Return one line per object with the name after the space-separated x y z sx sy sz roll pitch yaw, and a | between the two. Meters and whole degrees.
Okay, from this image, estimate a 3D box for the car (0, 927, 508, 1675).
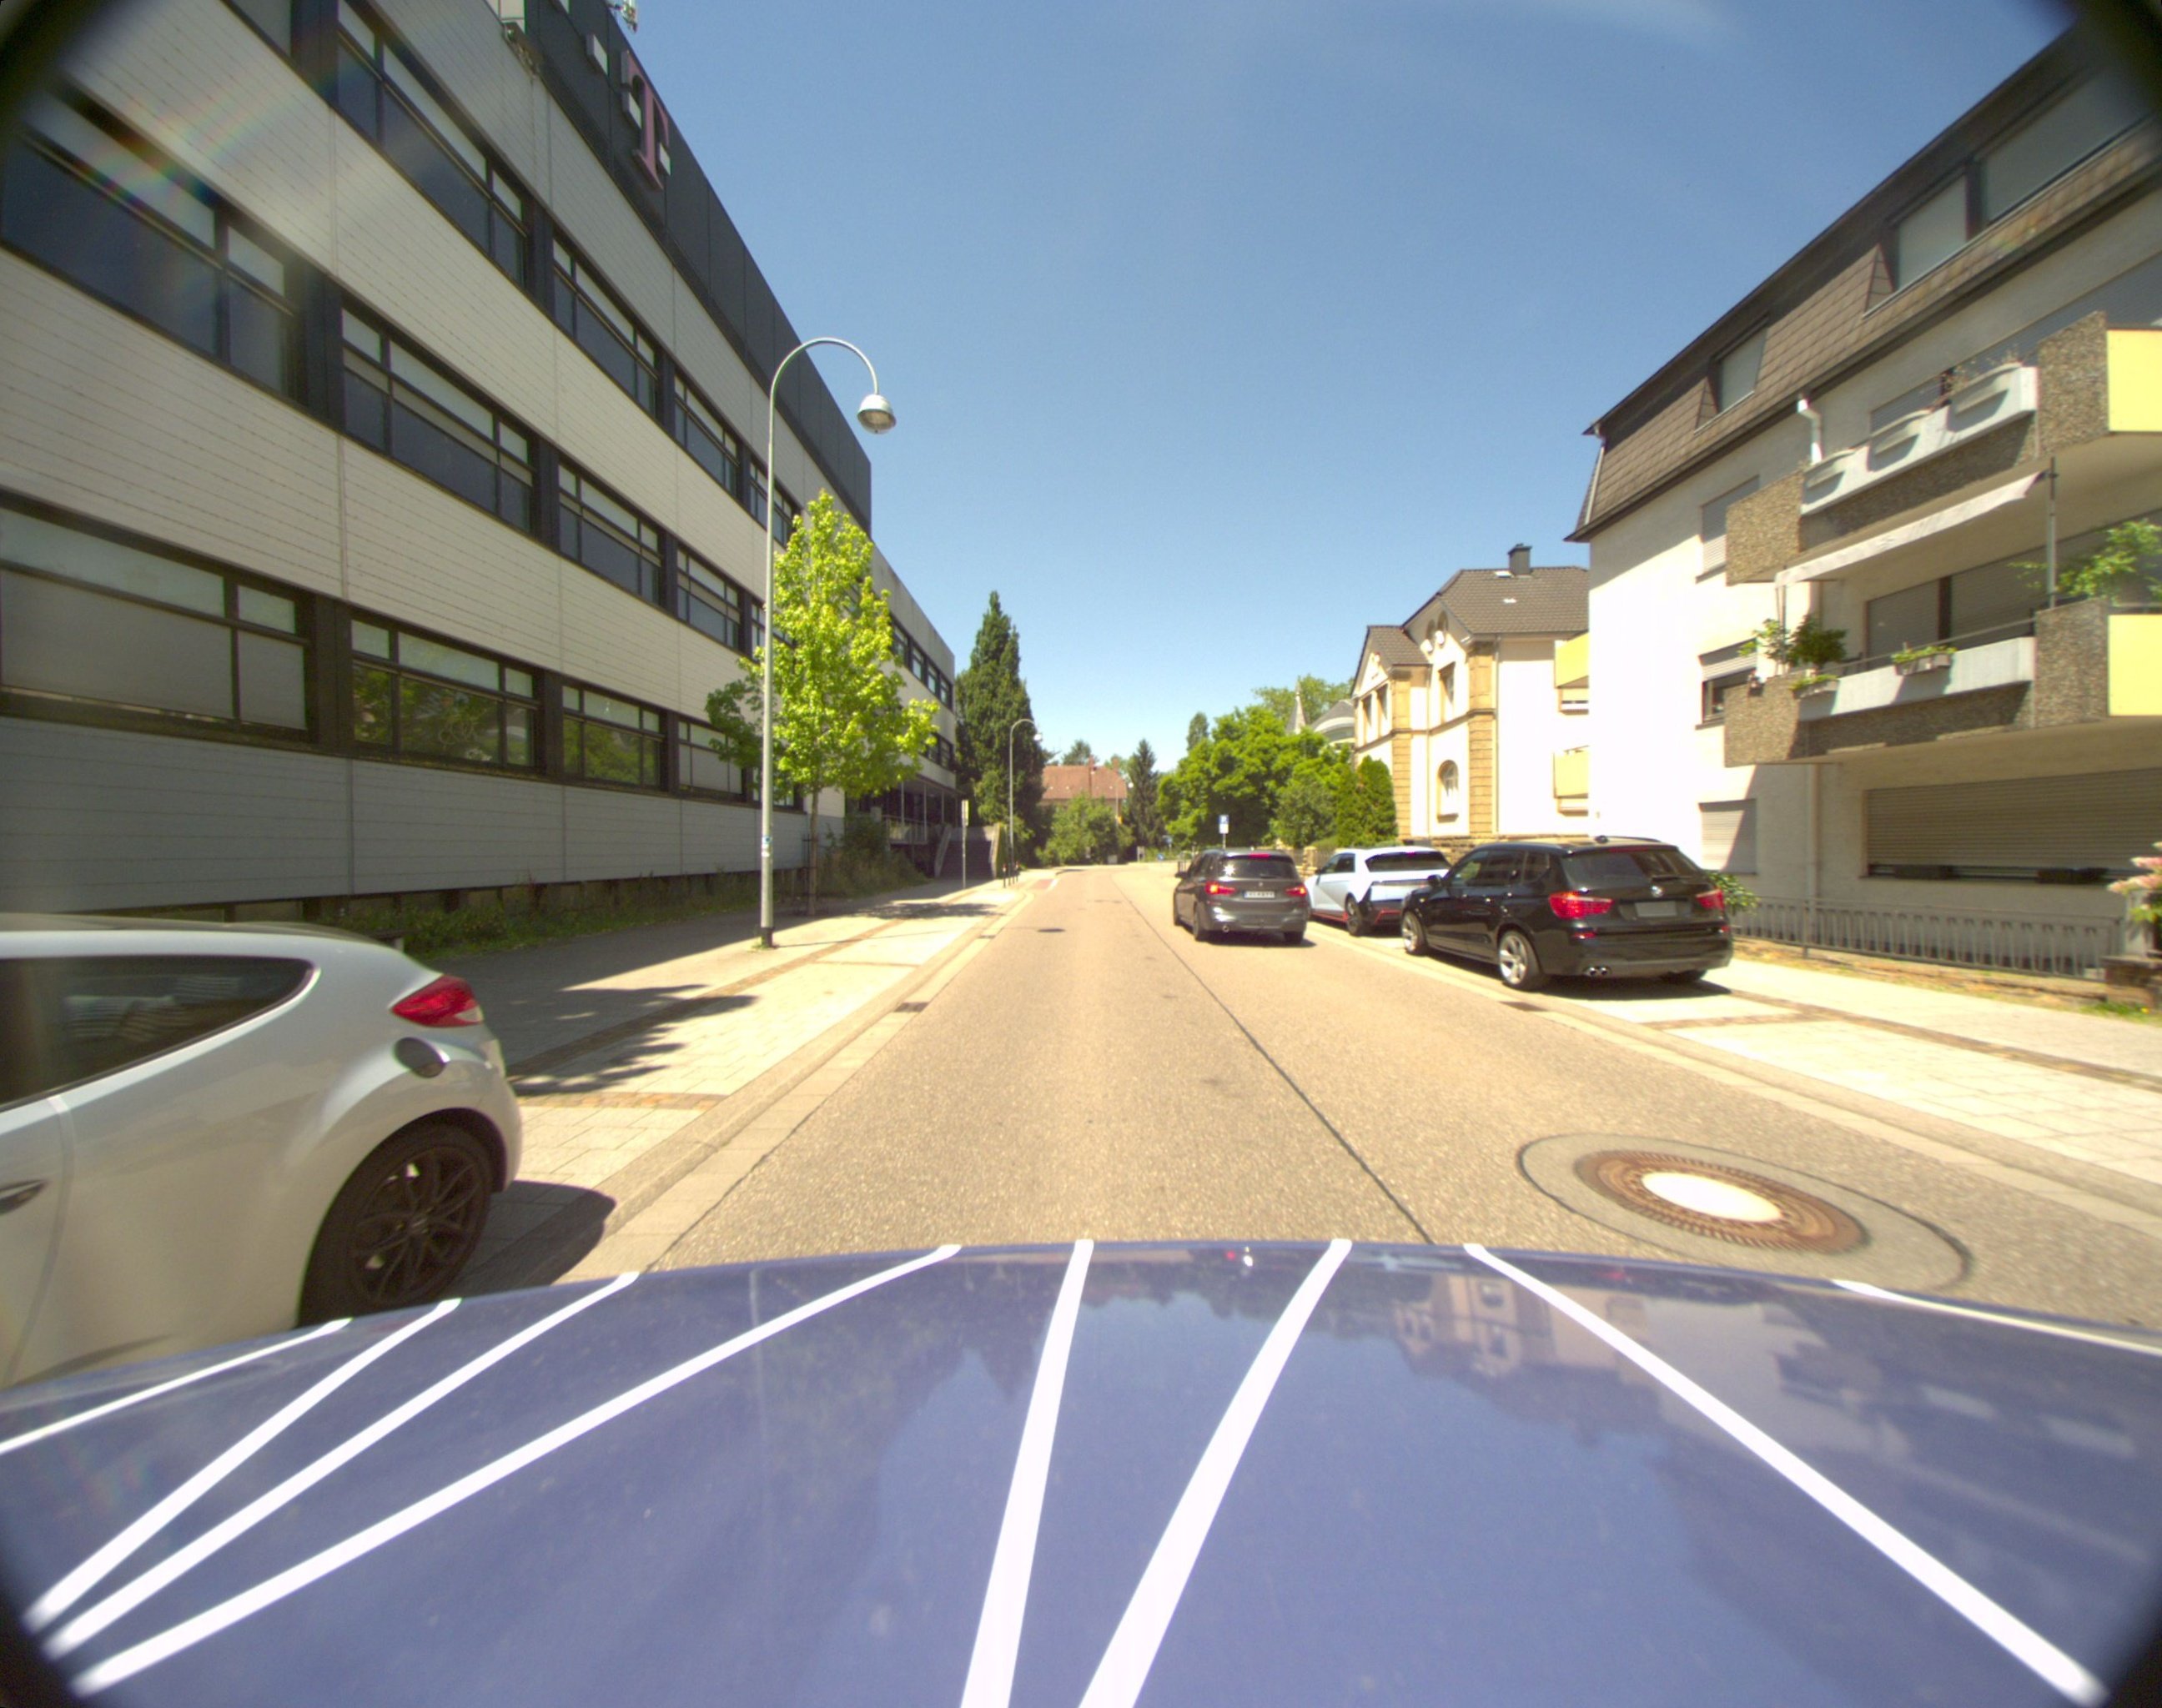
-3.134 0.983 0.867 1.841 1.357 4.000 1 1 2 | car

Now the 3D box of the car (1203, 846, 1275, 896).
5.964 0.602 29.214 1.925 1.681 4.287 -3 1 2 | car

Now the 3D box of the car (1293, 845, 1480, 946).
5.696 0.676 14.826 1.925 1.577 4.287 -3 1 1 | car

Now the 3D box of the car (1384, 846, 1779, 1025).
5.562 0.743 9.311 1.925 1.577 4.435 -3 1 1 | car

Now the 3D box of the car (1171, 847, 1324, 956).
2.839 0.718 13.968 1.925 1.668 4.287 0 1 1 | car
